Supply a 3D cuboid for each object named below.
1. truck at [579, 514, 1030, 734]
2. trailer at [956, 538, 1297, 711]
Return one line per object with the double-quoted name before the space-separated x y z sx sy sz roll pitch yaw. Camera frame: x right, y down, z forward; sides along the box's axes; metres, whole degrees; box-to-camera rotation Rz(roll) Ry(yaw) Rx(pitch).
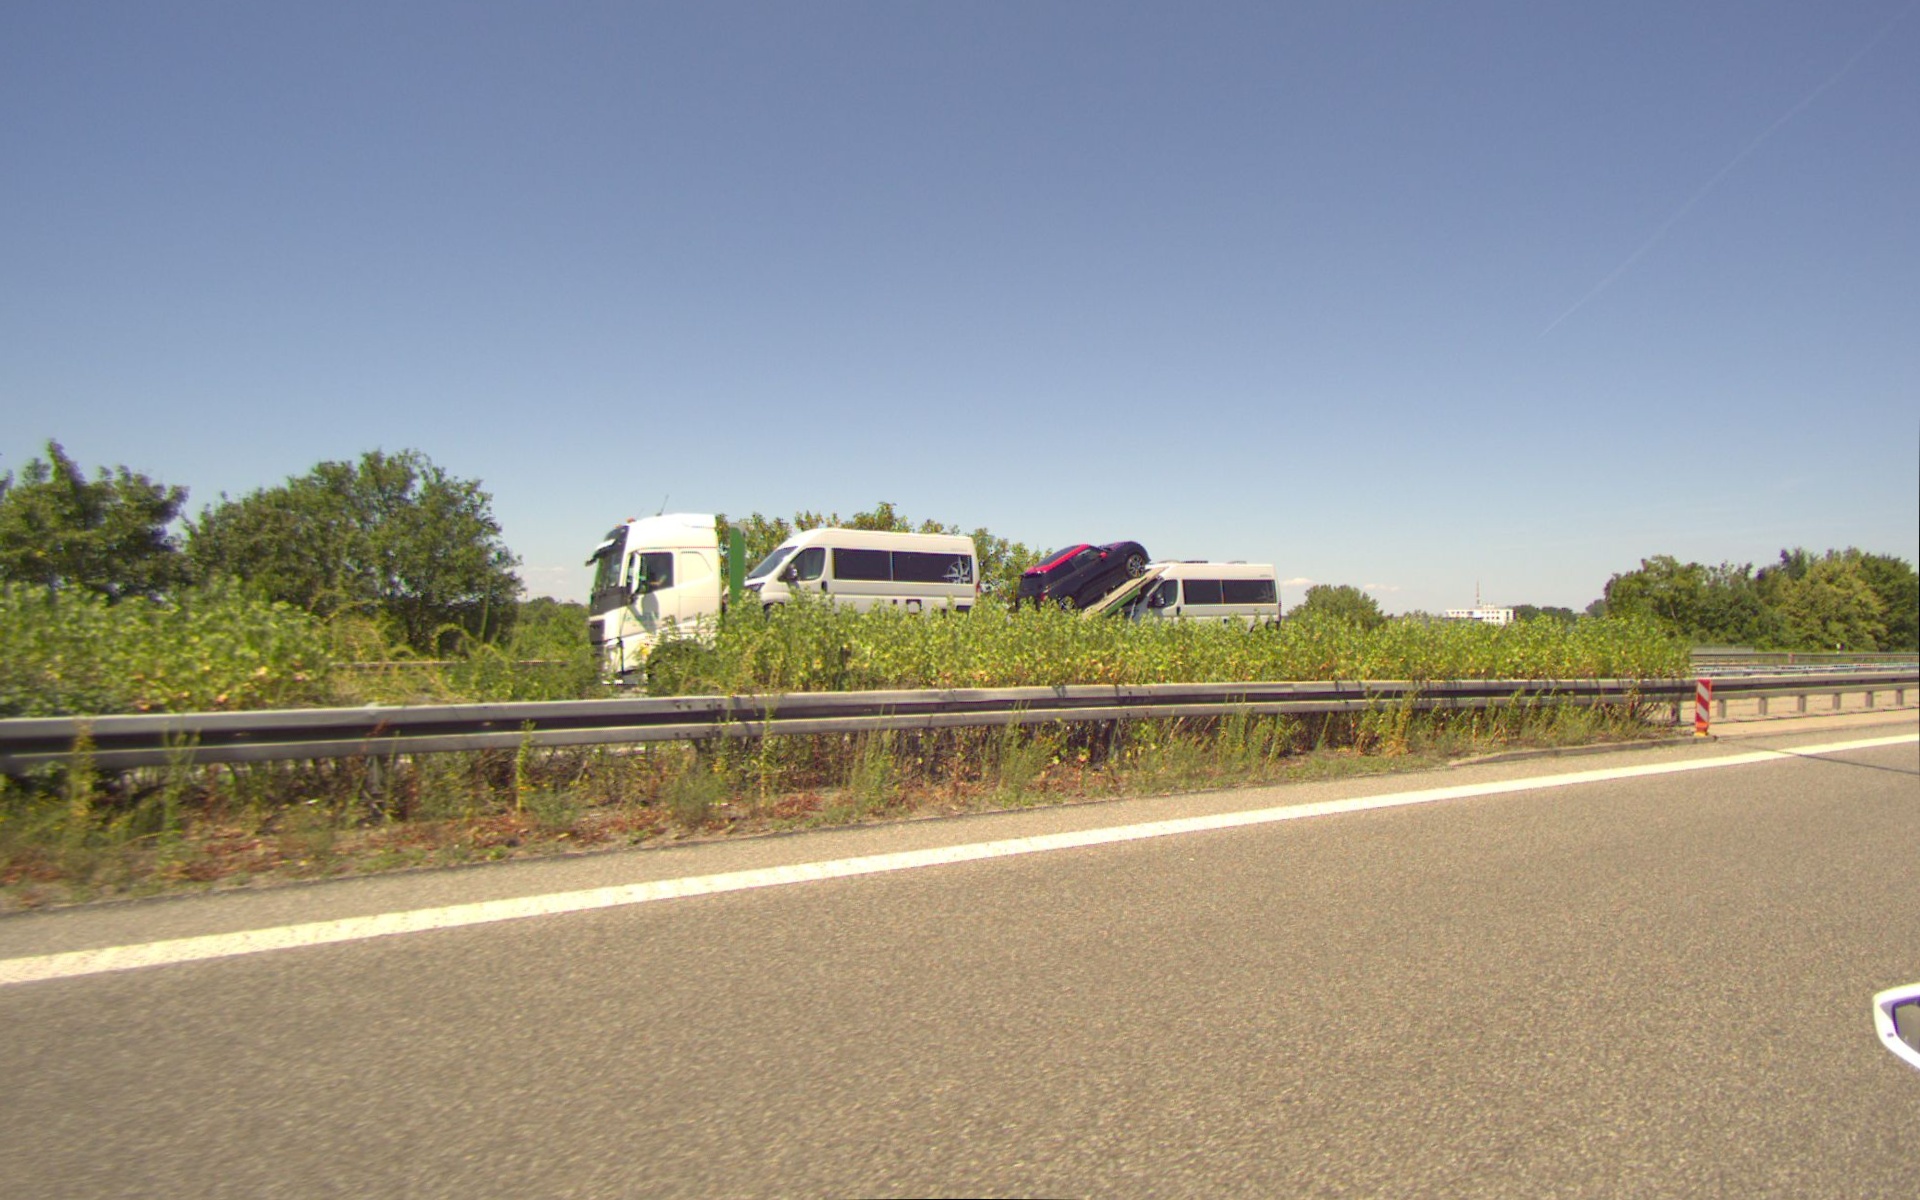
"truck" -3.159 0.489 22.301 9.517 4.044 2.901 1 0 -32
"trailer" 4.733 0.631 27.227 9.550 4.044 2.910 1 0 -32
